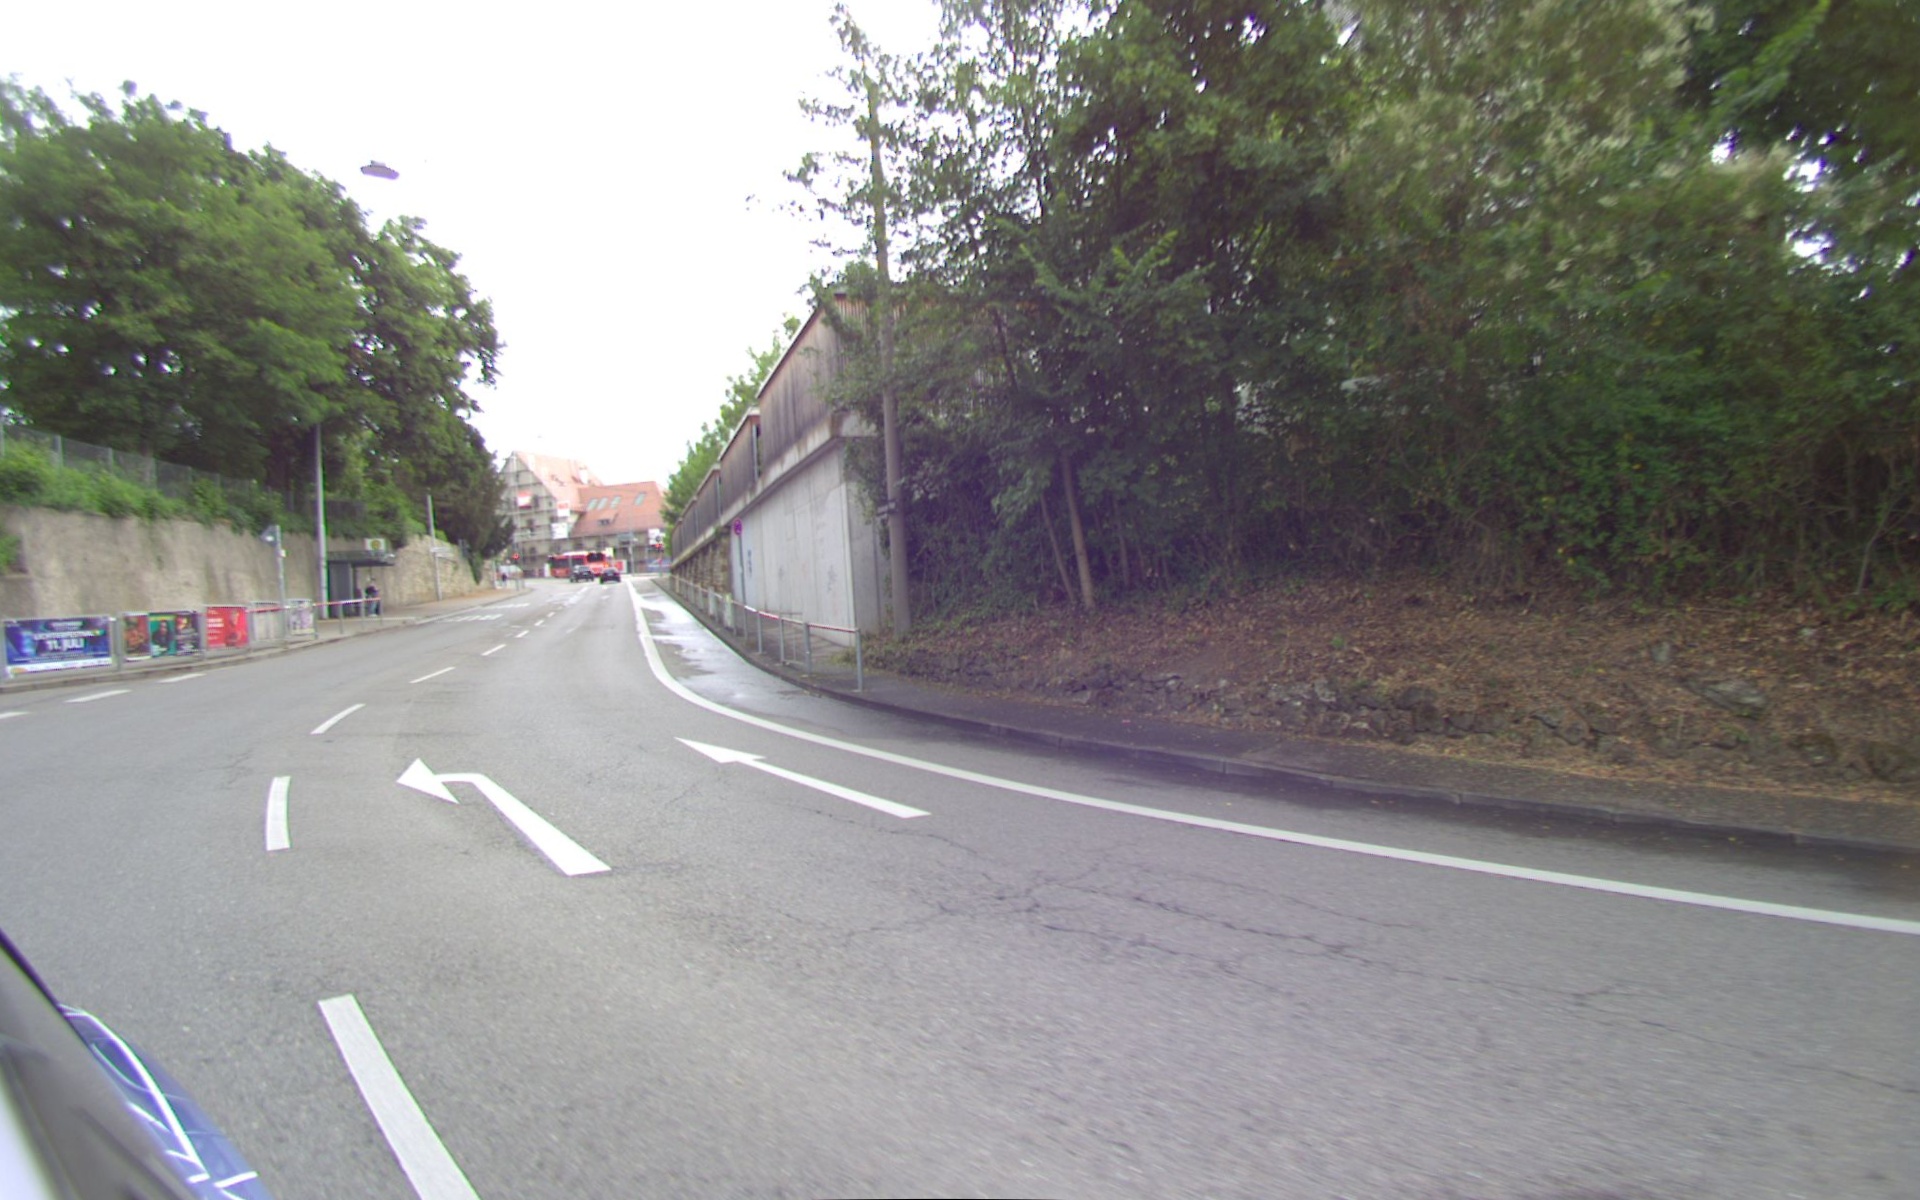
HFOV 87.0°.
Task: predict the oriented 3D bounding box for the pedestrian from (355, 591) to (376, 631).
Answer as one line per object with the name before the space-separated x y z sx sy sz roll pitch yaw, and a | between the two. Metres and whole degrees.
pedestrian | -25.351 0.451 43.154 0.706 1.652 0.743 -2 1 -27

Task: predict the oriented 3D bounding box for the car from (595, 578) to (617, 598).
car | -32.218 -1.109 92.047 1.825 1.729 3.893 -1 1 -19

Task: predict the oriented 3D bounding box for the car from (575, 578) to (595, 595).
car | -39.660 -1.446 107.120 1.825 1.729 3.893 -1 1 -19

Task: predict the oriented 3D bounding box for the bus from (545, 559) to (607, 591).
bus | -45.859 -2.974 120.656 9.482 3.664 2.872 0 1 42
